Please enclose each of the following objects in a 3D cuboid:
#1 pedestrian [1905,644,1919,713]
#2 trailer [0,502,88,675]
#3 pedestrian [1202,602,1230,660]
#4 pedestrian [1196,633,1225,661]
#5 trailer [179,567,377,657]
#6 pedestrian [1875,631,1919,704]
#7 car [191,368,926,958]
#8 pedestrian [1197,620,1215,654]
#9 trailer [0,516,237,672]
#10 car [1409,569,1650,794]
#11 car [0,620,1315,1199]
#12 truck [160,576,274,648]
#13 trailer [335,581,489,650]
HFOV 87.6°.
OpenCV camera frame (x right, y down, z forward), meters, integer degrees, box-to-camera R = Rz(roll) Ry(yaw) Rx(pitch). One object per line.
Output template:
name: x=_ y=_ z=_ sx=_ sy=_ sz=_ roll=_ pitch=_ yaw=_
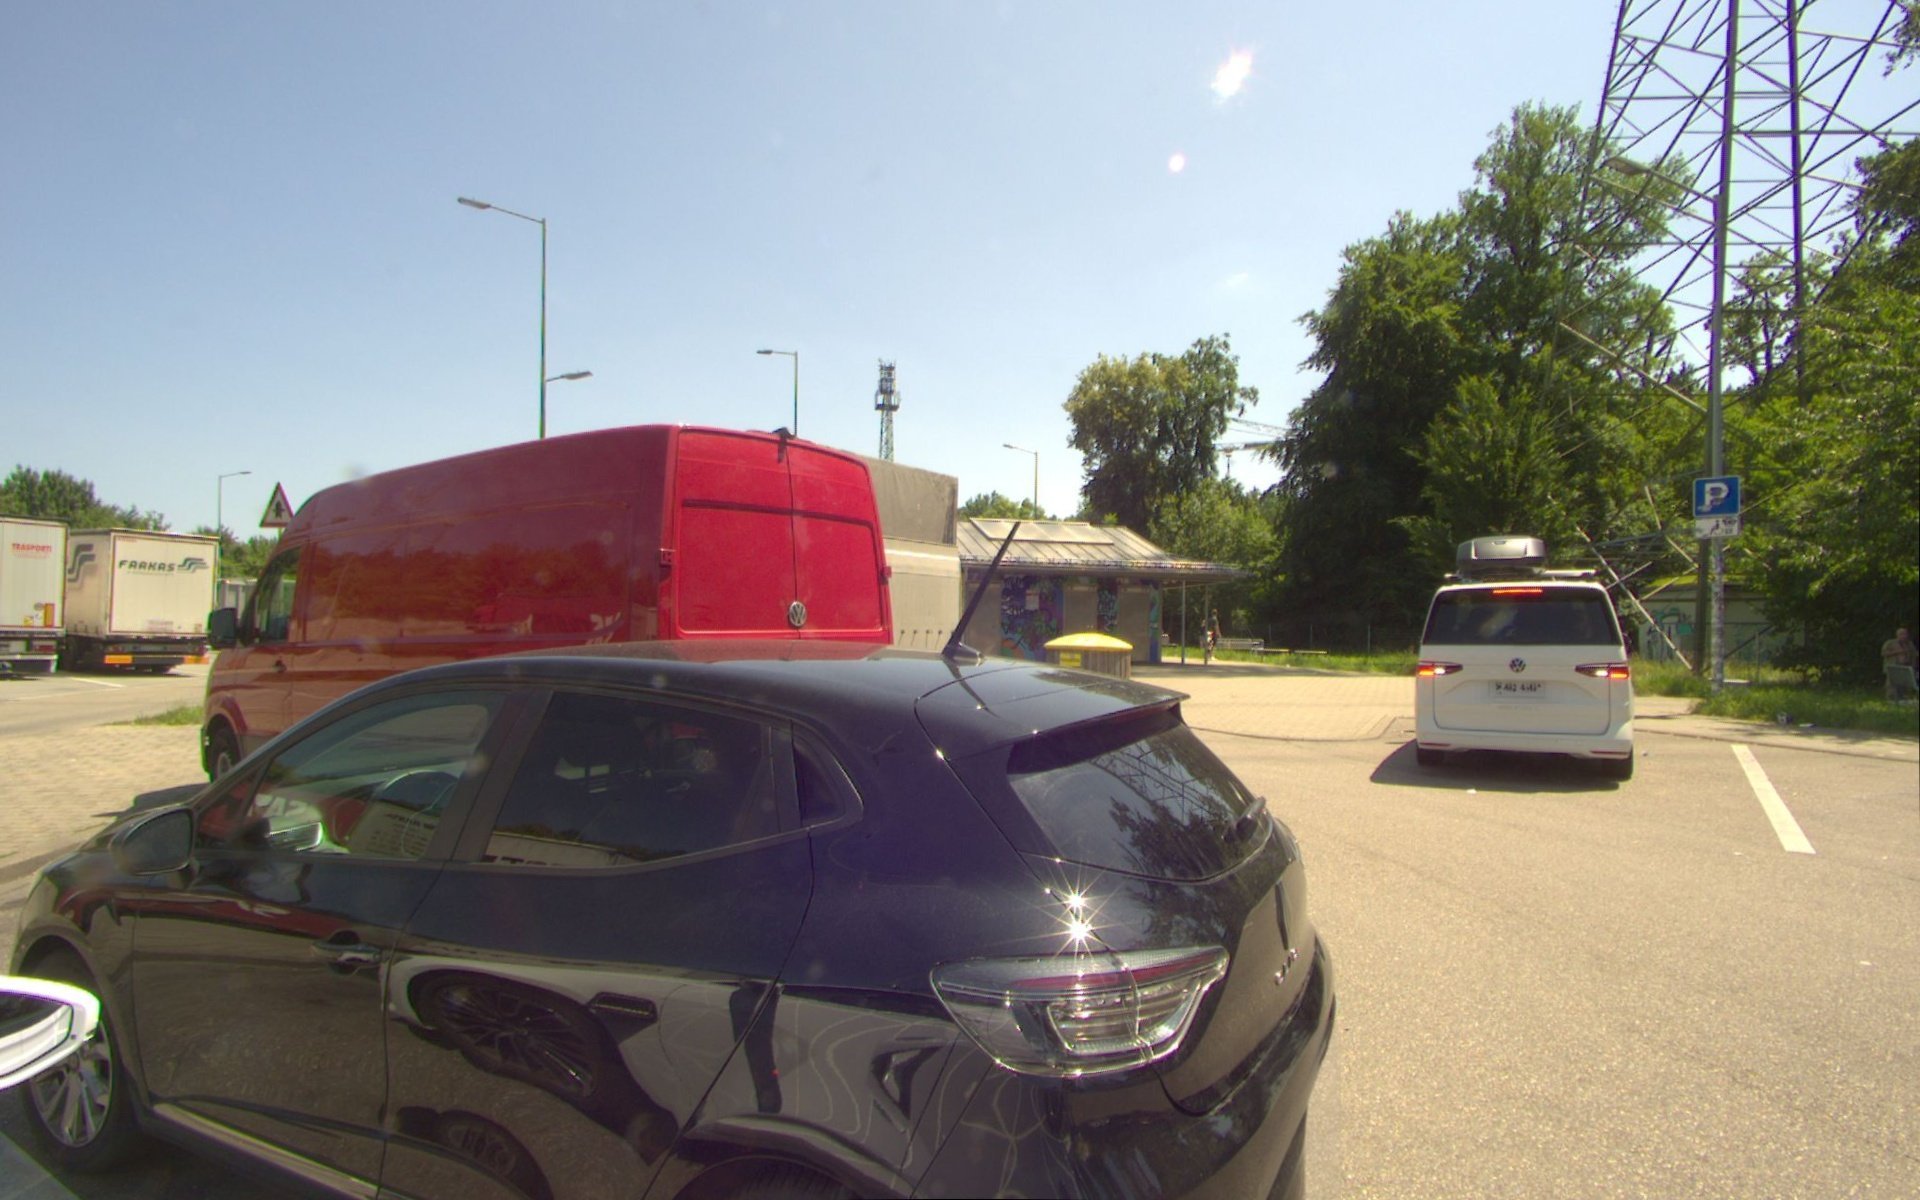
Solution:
pedestrian: x=17.194 y=1.362 z=17.489 sx=0.876 sy=1.192 sz=0.666 roll=-1 pitch=-2 yaw=32
trailer: x=-28.964 y=-0.361 z=28.166 sx=13.523 sy=4.185 sz=2.835 roll=1 pitch=-2 yaw=33
pedestrian: x=9.221 y=1.128 z=36.088 sx=0.763 sy=2.067 sz=0.646 roll=0 pitch=-1 yaw=-11
pedestrian: x=8.892 y=1.664 z=35.562 sx=0.763 sy=0.960 sz=0.646 roll=0 pitch=-1 yaw=-11
trailer: x=-32.379 y=0.495 z=47.157 sx=13.530 sy=3.764 sz=2.834 roll=1 pitch=-2 yaw=34
pedestrian: x=18.642 y=1.329 z=19.828 sx=0.660 sy=1.422 sz=0.647 roll=-1 pitch=-1 yaw=33
car: x=-3.351 y=0.316 z=7.372 sx=6.310 sy=2.731 sz=2.060 roll=0 pitch=-1 yaw=37
pedestrian: x=11.305 y=1.683 z=46.050 sx=0.634 sy=1.547 sz=0.565 roll=0 pitch=-1 yaw=-14
trailer: x=-27.655 y=-0.182 z=31.646 sx=13.523 sy=4.185 sz=2.835 roll=1 pitch=-2 yaw=33
car: x=6.095 y=0.760 z=11.099 sx=1.881 sy=1.937 sz=4.549 roll=-1 pitch=-1 yaw=26
car: x=-1.059 y=0.840 z=2.921 sx=3.757 sy=1.501 sz=1.736 roll=0 pitch=-1 yaw=27
truck: x=-37.688 y=0.579 z=50.757 sx=5.405 sy=3.407 sz=2.847 roll=1 pitch=-2 yaw=34
trailer: x=-36.041 y=0.928 z=65.451 sx=13.530 sy=4.101 sz=2.834 roll=1 pitch=-2 yaw=34
